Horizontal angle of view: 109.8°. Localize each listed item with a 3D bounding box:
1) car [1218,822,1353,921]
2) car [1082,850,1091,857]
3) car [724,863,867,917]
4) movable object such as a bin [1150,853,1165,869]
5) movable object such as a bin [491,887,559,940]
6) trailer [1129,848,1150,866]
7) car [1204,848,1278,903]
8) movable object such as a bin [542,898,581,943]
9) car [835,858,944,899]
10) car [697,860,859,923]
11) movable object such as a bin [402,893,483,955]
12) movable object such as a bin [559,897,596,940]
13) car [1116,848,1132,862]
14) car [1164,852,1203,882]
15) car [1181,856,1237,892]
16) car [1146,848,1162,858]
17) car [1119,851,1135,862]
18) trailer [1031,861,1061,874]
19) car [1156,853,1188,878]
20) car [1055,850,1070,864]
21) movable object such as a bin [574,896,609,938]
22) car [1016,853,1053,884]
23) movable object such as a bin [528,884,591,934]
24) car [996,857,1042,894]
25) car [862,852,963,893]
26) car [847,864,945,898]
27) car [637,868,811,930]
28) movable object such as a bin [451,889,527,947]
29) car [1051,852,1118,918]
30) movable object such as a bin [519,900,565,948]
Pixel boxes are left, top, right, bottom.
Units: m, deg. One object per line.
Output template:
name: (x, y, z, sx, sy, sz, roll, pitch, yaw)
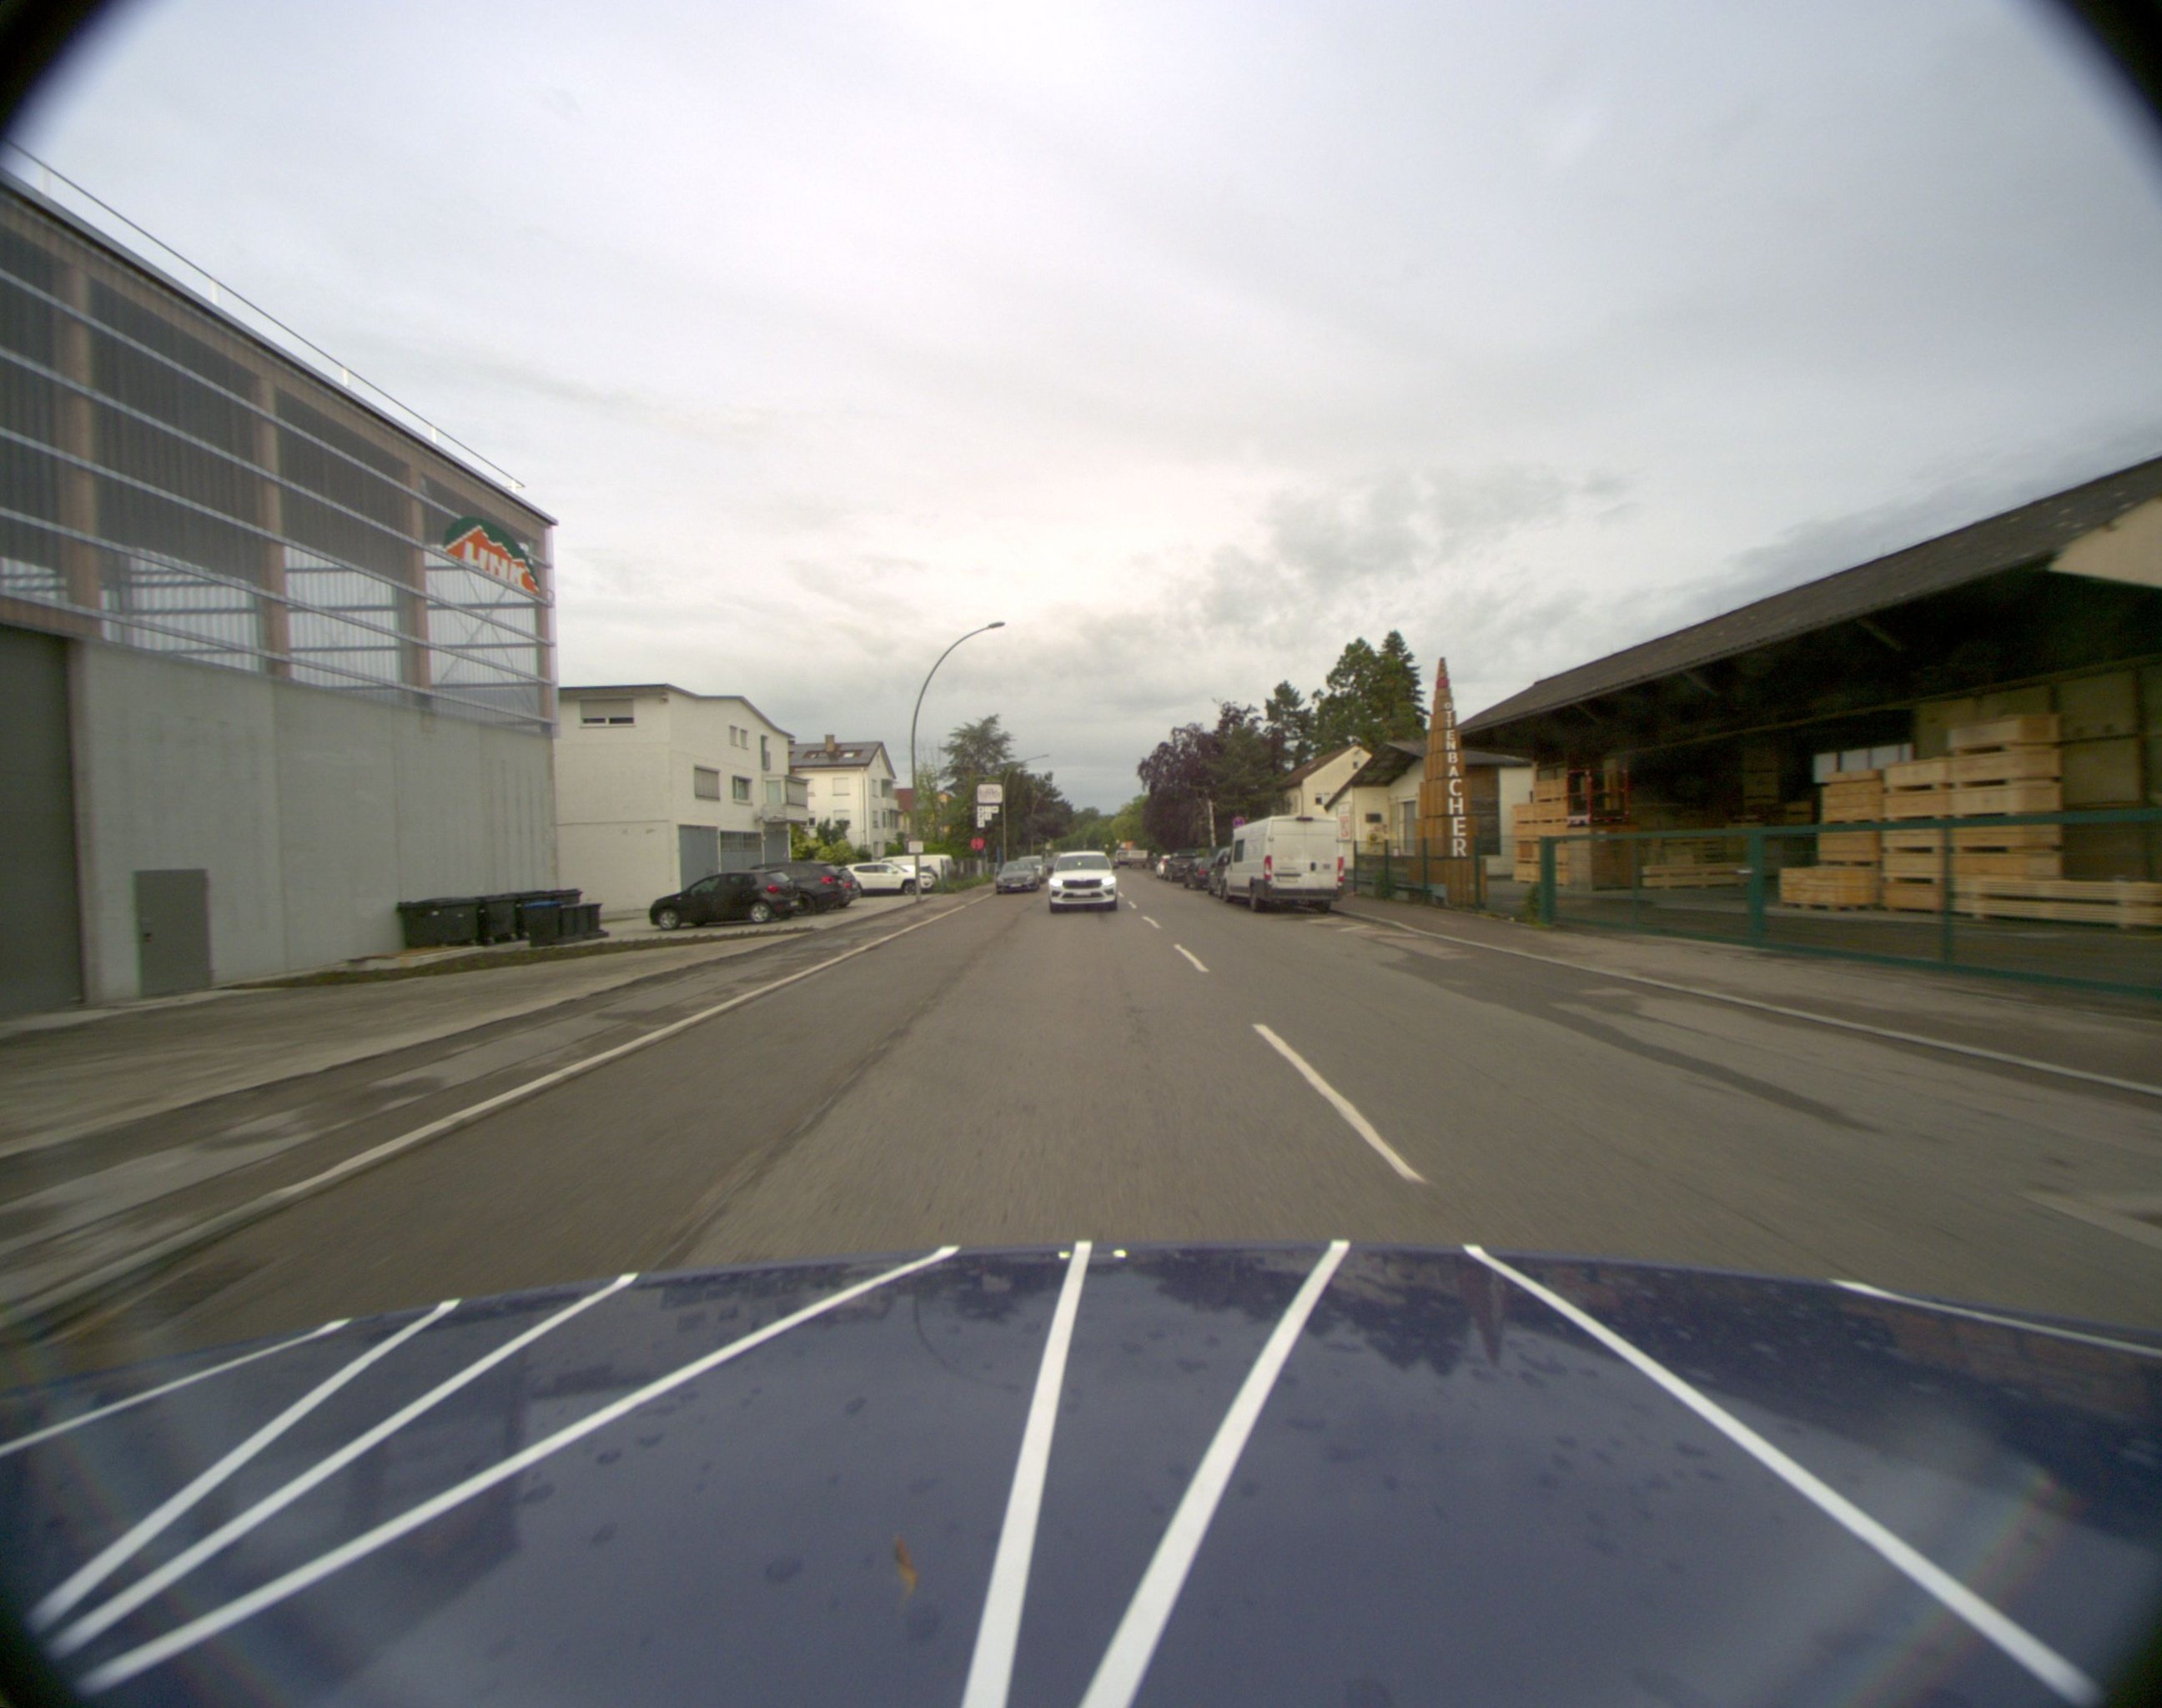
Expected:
car: (5.689, 0.414, 22.161, 2.163, 2.413, 6.459, 1, 0, 0)
car: (1.299, -0.111, 170.887, 1.898, 1.678, 4.230, 0, 1, 1)
car: (-9.976, 1.228, 26.756, 4.254, 1.527, 1.811, -4, 1, 0)
movable object such as a bin: (6.537, 0.603, 65.115, 1.103, 1.303, 1.425, -3, 1, 0)
movable object such as a bin: (-15.329, 1.620, 20.996, 0.840, 1.332, 1.285, -3, 1, 1)
trailer: (6.159, 0.273, 80.402, 1.934, 1.755, 4.548, -2, 0, 1)
car: (5.764, 0.709, 27.874, 1.774, 1.758, 4.445, 2, 1, 1)
movable object such as a bin: (-12.915, 1.652, 18.888, 0.514, 1.049, 0.543, -3, 1, 1)
car: (-8.708, 1.099, 34.877, 4.457, 1.615, 1.893, -3, 1, -1)
car: (-9.478, 1.145, 24.027, 4.237, 1.665, 1.980, -3, 1, -1)
movable object such as a bin: (-15.362, 1.675, 18.326, 0.840, 1.332, 1.213, -3, 1, 1)
movable object such as a bin: (-12.897, 1.645, 19.469, 0.497, 1.049, 0.552, -3, 1, 1)
car: (6.020, 0.069, 106.480, 1.898, 1.881, 5.209, 0, 1, 1)
car: (5.811, 0.709, 43.328, 1.665, 1.575, 3.915, 0, 1, -1)
car: (5.699, 0.852, 34.317, 1.666, 1.440, 4.316, 0, 1, -2)
car: (11.307, -0.193, 117.870, 1.833, 1.432, 4.787, -3, 1, -1)
car: (6.074, 0.360, 101.045, 1.821, 1.419, 4.980, 0, 1, 1)
trailer: (-2.889, 1.120, 64.815, 2.179, 0.892, 6.636, -3, 0, 0)
car: (5.756, 0.689, 48.506, 1.620, 1.500, 3.660, 0, 1, 1)
car: (-2.611, 0.347, 107.724, 1.736, 1.817, 5.553, -4, 1, 1)
movable object such as a bin: (-12.879, 1.655, 20.013, 0.518, 1.049, 0.505, -3, 1, 1)
car: (-2.752, 0.822, 45.636, 1.743, 1.612, 4.373, -3, 1, 2)
movable object such as a bin: (-15.308, 1.604, 22.360, 0.840, 1.332, 1.330, -3, 1, 1)
car: (-2.811, 0.963, 35.408, 1.743, 1.458, 4.544, -3, 1, -1)
car: (-8.837, 0.945, 40.146, 4.743, 1.875, 2.000, -3, 1, 0)
car: (-9.081, 1.305, 37.597, 4.331, 1.371, 1.850, -3, 1, -1)
car: (-9.990, 1.237, 21.479, 3.976, 1.481, 1.833, -3, 1, 1)
movable object such as a bin: (-15.282, 1.642, 19.659, 0.840, 1.332, 1.321, -3, 1, 1)
car: (0.015, 0.811, 22.089, 1.692, 1.651, 3.999, -3, 1, -2)
movable object such as a bin: (-12.955, 1.673, 18.284, 0.576, 1.049, 0.644, -3, 1, 1)
